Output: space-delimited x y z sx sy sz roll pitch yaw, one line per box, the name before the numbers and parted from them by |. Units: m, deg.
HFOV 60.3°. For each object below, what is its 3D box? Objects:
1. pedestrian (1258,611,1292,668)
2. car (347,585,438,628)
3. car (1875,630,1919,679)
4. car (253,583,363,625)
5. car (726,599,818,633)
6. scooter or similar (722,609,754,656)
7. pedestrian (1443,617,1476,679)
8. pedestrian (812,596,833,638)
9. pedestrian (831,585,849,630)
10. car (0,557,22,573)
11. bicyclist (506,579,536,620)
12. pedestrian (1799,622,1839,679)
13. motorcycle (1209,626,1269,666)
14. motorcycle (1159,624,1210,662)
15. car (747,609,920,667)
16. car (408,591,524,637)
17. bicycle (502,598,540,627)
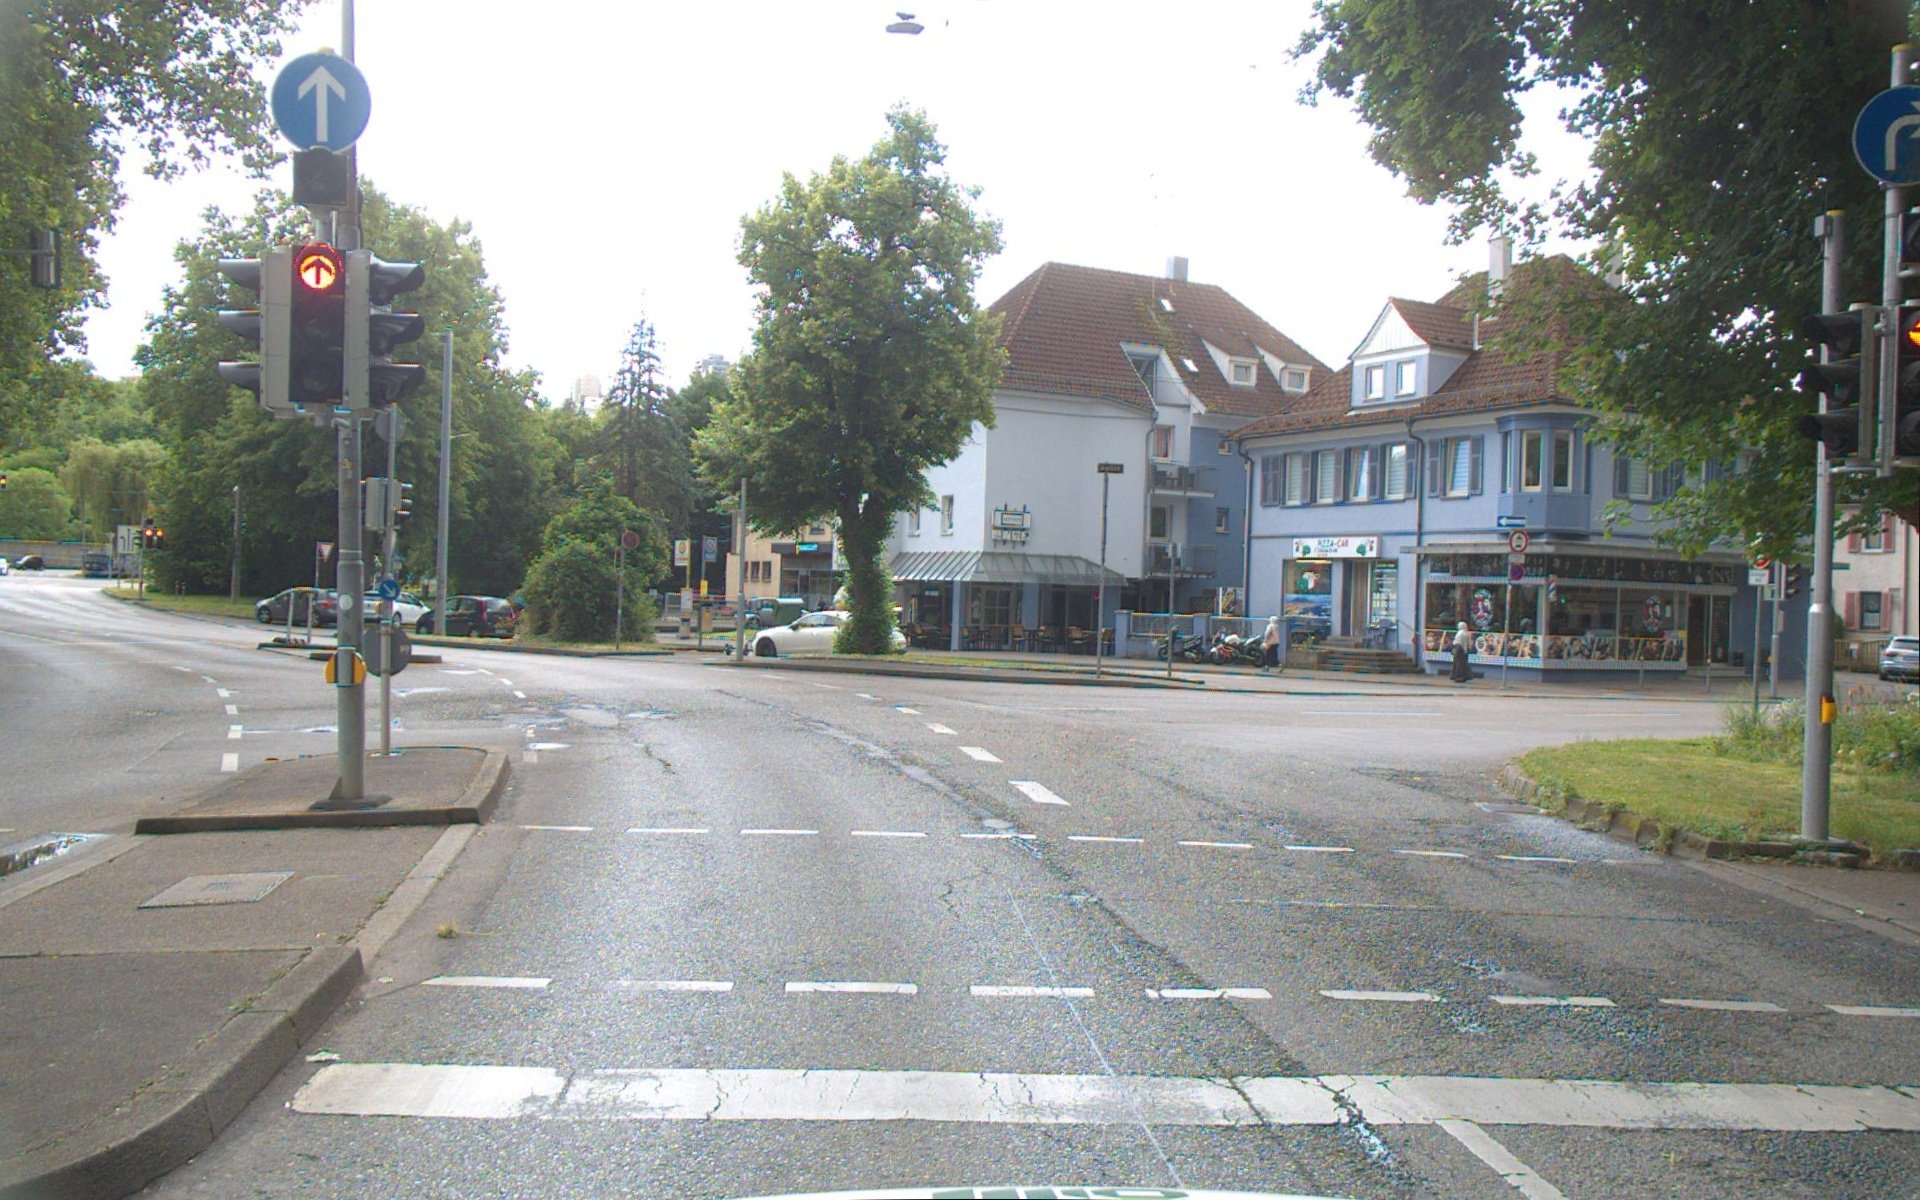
pedestrian | 8.798 1.097 46.229 0.717 1.587 0.767 0 -1 30
car | -22.726 0.257 66.409 1.821 1.668 3.757 1 0 10
car | 29.703 1.688 51.689 1.849 1.415 3.608 1 0 28
car | -25.001 0.151 63.427 3.695 1.491 1.622 1 0 18
car | -8.573 0.731 75.483 3.880 1.467 1.742 1 0 -21
scooter or similar | -5.697 0.829 42.512 0.433 1.195 1.439 1 0 8
pedestrian | 13.028 1.255 43.156 0.681 1.587 0.665 0 -1 30
pedestrian | -6.690 0.823 80.450 0.823 2.049 1.052 1 0 -15
pedestrian | -4.290 0.268 59.077 0.531 1.587 0.468 0 -1 13
car | -88.638 -3.247 153.781 2.970 1.442 1.492 0 -2 40
bicyclist | -18.341 -0.038 69.125 0.896 1.680 0.989 1 0 8
pedestrian | 24.051 1.408 46.300 0.659 1.587 0.743 1 -1 -15
motorcycle | 8.172 1.339 48.462 1.595 1.107 0.625 1 0 32
motorcycle | 6.819 1.287 50.212 1.430 1.107 0.522 1 0 35
car | -3.528 1.021 45.686 4.618 1.435 1.896 1 0 35
car | -15.909 0.446 53.267 3.252 1.376 1.778 1 0 27
bicycle | -18.360 0.521 69.211 0.855 1.169 1.954 1 0 8
